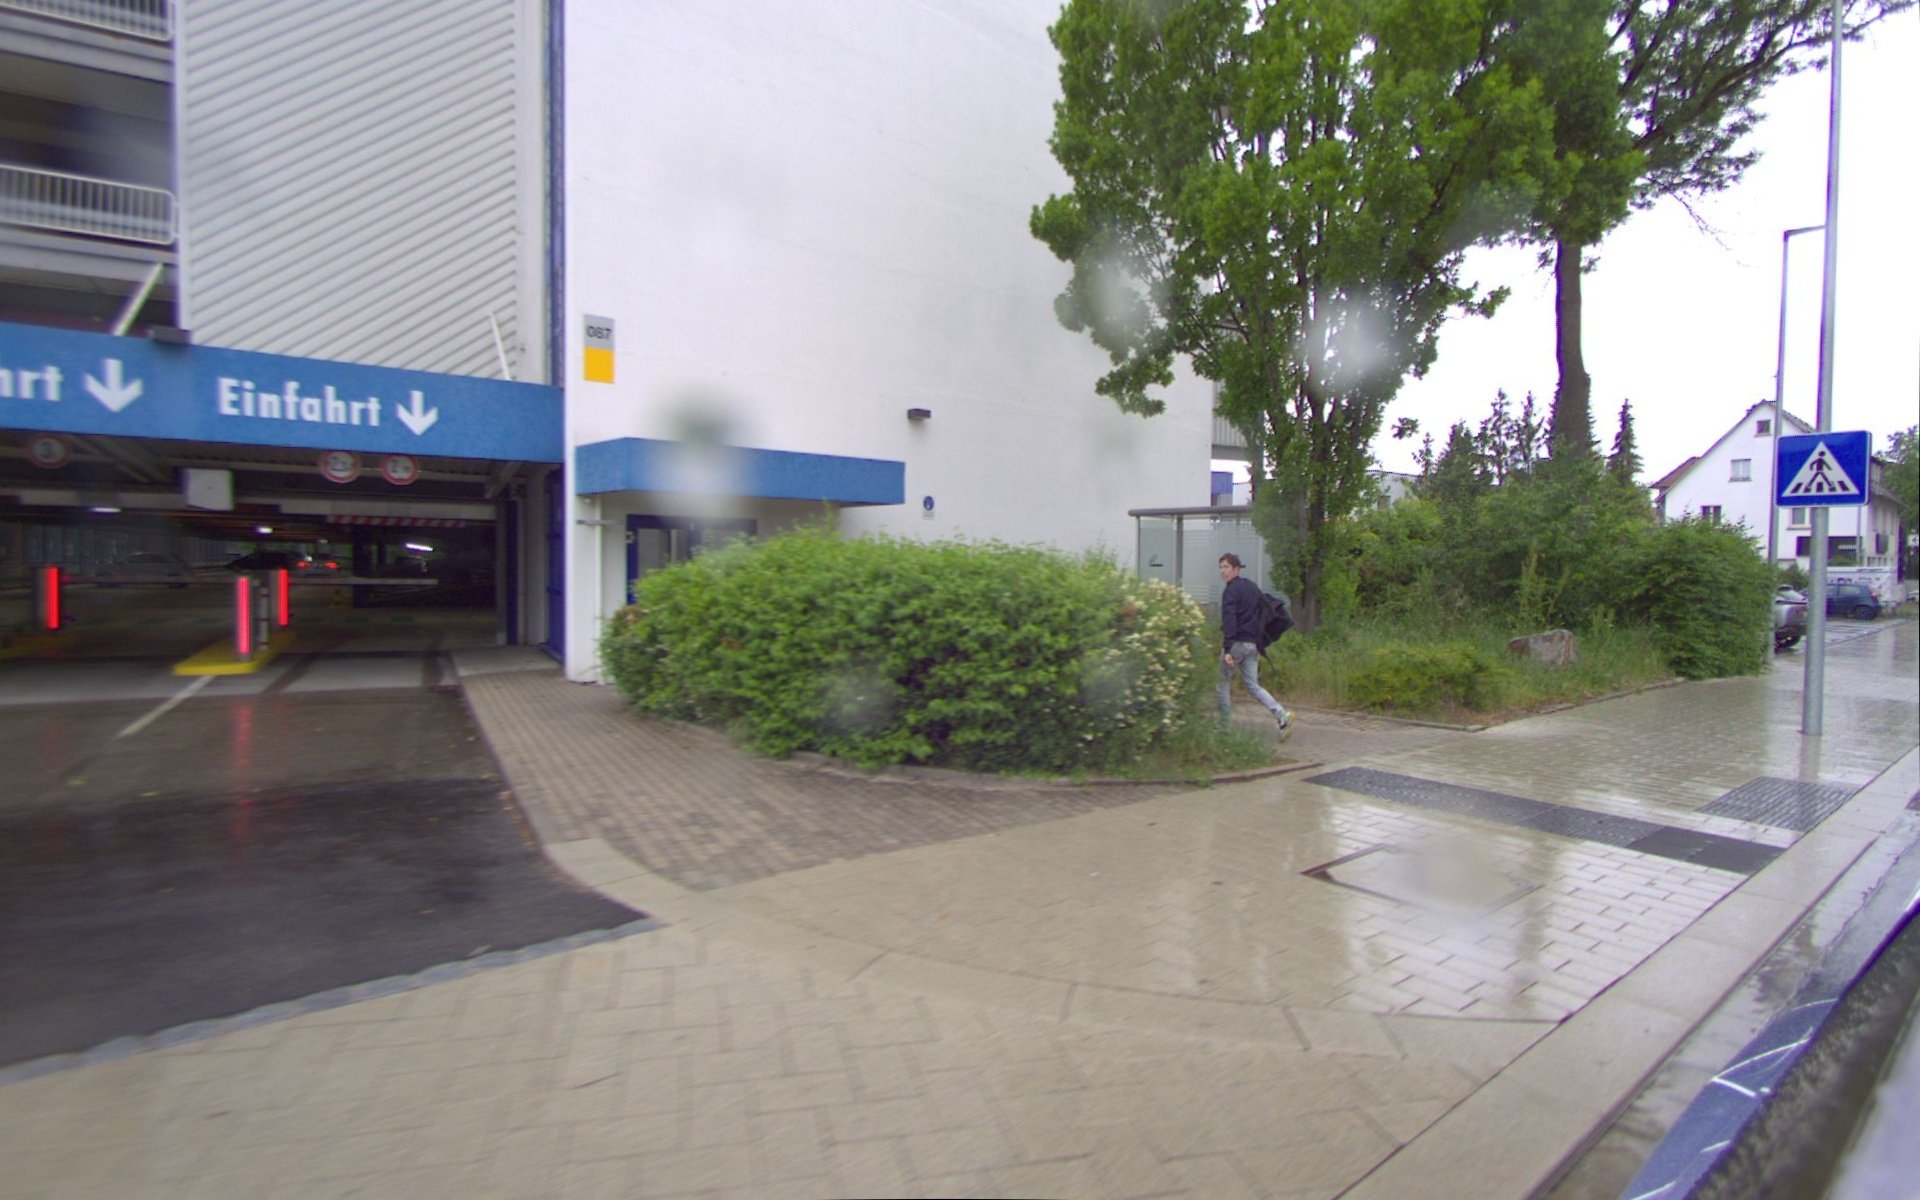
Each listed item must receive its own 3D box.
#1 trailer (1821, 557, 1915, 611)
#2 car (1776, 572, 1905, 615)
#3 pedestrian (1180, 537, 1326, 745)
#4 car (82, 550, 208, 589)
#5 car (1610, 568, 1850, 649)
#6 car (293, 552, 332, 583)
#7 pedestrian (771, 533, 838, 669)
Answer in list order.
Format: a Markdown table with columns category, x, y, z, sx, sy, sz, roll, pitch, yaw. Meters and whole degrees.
| category | x | y | z | sx | sy | sz | roll | pitch | yaw |
| --- | --- | --- | --- | --- | --- | --- | --- | --- | --- |
| trailer | 38.013 | -0.700 | 42.411 | 1.520 | 2.198 | 2.709 | -1 | 2 | -38 |
| car | 35.846 | -0.290 | 41.252 | 1.621 | 1.547 | 3.734 | -2 | 4 | -40 |
| pedestrian | 2.630 | 0.334 | 9.113 | 0.759 | 1.746 | 1.014 | 0 | 1 | -43 |
| car | -34.576 | -1.302 | 43.063 | 3.921 | 1.482 | 1.743 | -3 | 0 | -30 |
| car | 18.820 | 0.116 | 24.949 | 1.960 | 1.669 | 4.227 | 0 | 4 | -30 |
| car | -34.694 | -1.728 | 54.279 | 1.531 | 1.384 | 4.003 | -3 | 0 | -30 |
| pedestrian | -2.205 | 0.006 | 14.346 | 0.759 | 1.859 | 0.570 | 0 | 1 | -43 |
